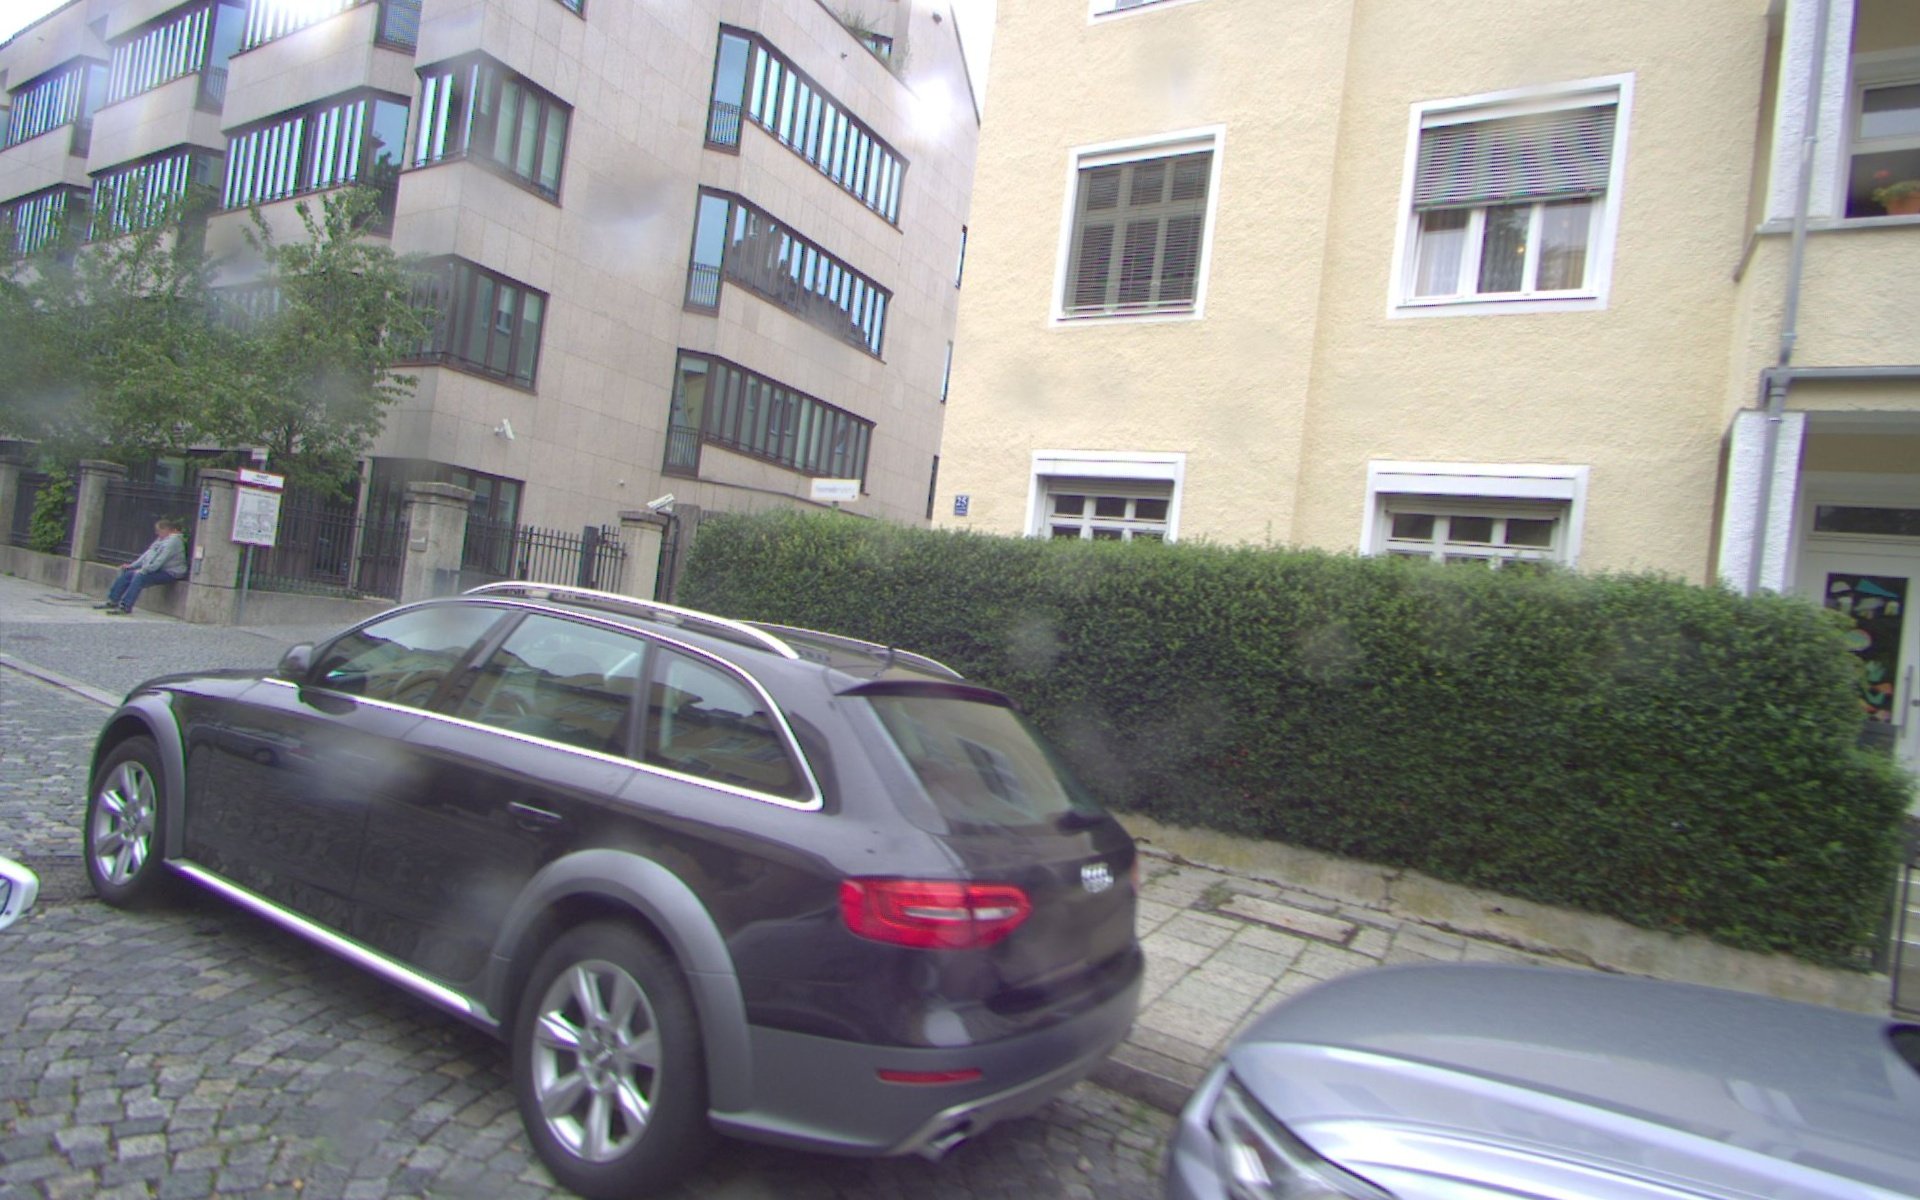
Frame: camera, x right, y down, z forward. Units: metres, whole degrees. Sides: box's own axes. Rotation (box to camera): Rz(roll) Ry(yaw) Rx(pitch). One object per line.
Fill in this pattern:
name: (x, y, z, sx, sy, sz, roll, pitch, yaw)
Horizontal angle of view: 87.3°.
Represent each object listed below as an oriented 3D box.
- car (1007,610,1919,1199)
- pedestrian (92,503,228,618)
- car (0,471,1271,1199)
car: (2.671, 1.161, 1.184, 4.904, 1.569, 1.998, 7, -3, 32)
pedestrian: (-11.837, -0.574, 14.903, 1.111, 1.512, 1.217, 7, 2, 33)
car: (-1.585, 0.585, 3.997, 4.931, 1.568, 1.999, 7, -4, 31)
